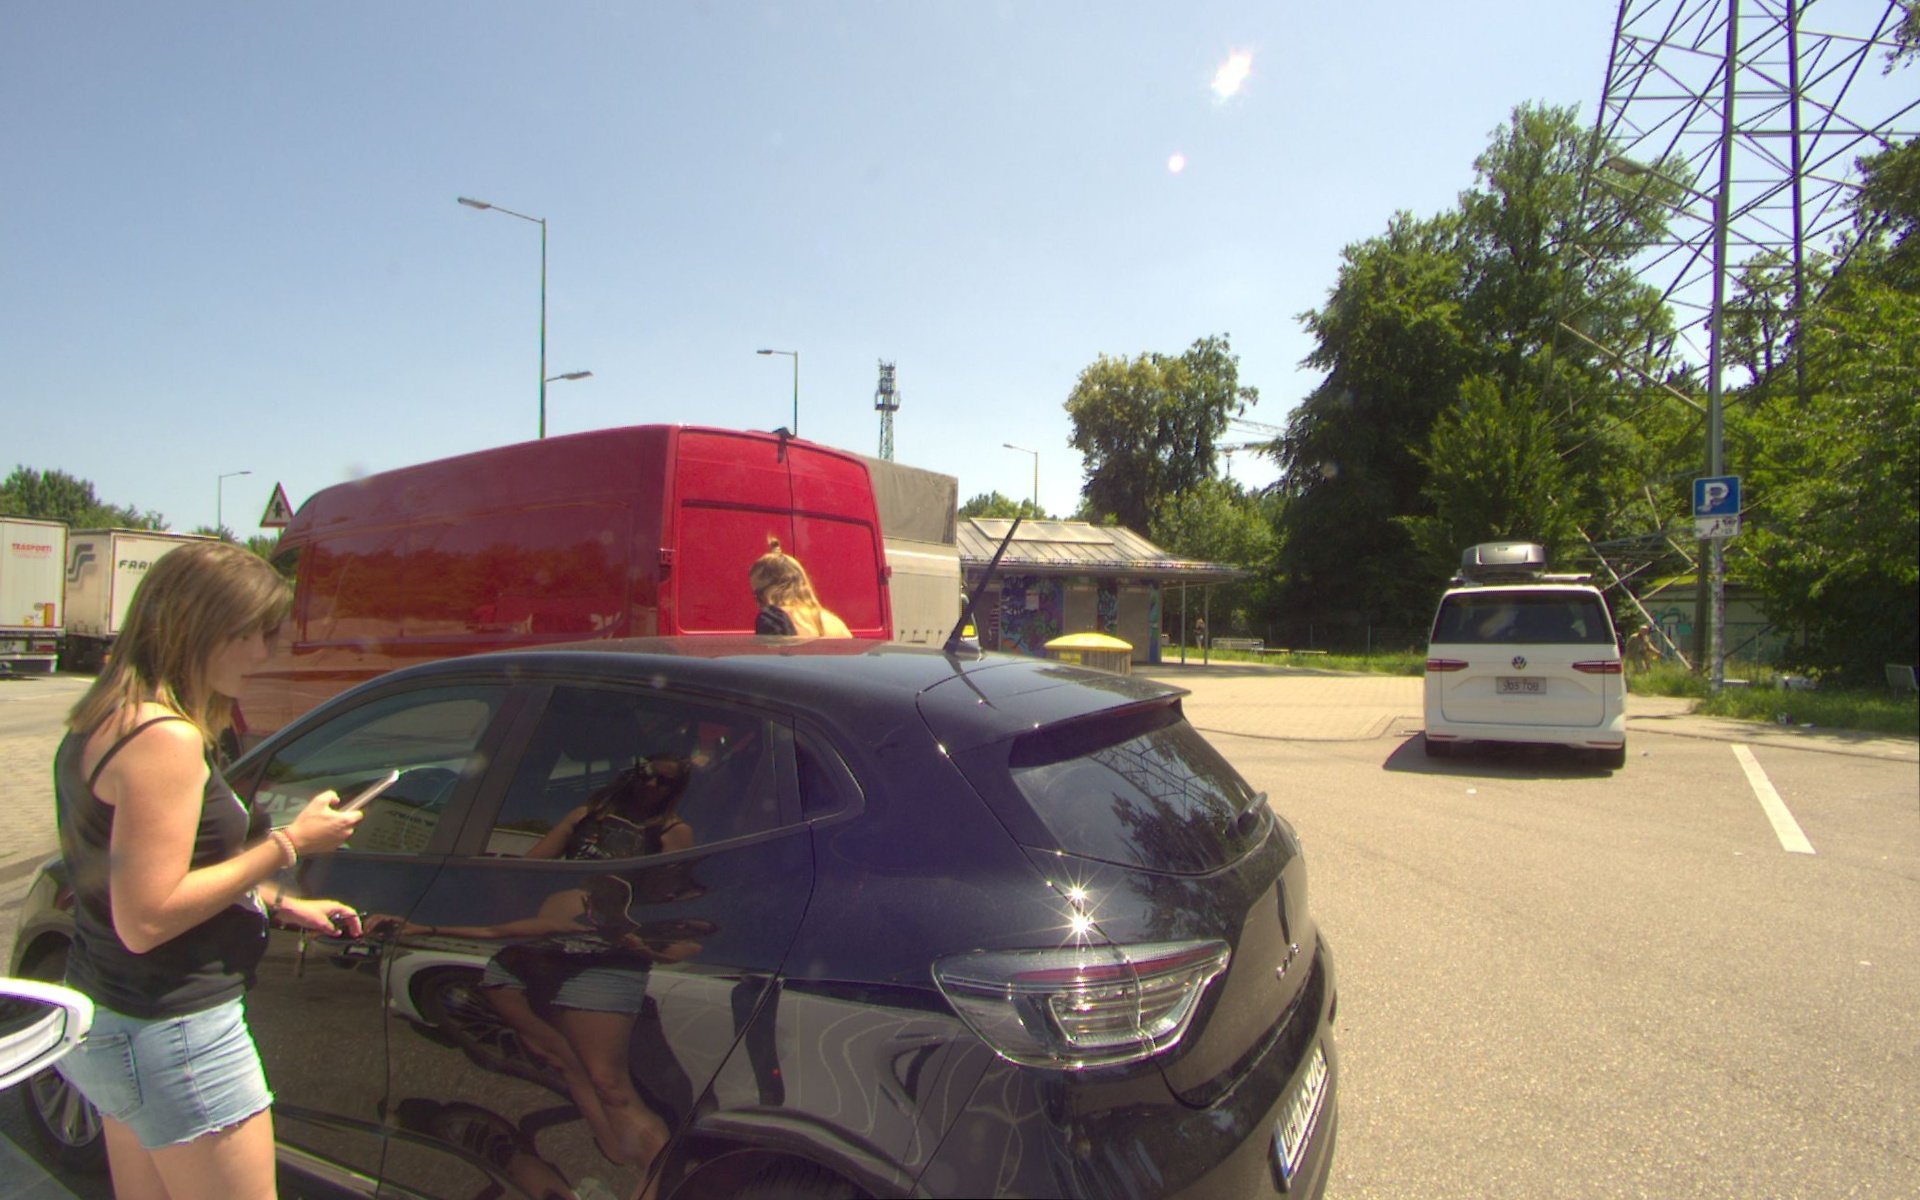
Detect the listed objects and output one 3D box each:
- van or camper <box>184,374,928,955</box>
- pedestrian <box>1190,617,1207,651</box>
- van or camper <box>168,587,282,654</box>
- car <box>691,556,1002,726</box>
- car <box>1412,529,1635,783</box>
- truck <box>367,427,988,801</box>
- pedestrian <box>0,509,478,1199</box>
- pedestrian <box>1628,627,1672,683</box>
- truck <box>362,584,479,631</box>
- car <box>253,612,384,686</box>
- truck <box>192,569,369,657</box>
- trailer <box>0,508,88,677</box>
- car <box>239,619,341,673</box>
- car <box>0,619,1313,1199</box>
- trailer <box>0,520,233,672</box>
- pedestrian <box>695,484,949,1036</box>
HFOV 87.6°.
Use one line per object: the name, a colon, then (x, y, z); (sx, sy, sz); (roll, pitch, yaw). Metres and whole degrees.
van or camper: (-3.367, 0.325, 7.343); (6.394, 2.688, 1.990); (0, -1, 36)
pedestrian: (10.968, 1.561, 46.106); (0.577, 1.536, 0.592); (1, 0, -9)
van or camper: (-30.415, 0.820, 41.374); (5.296, 2.595, 2.100); (0, -1, 34)
car: (-1.940, 0.556, 15.426); (1.981, 2.178, 5.261); (1, -1, -44)
car: (6.538, 0.571, 11.549); (1.892, 2.354, 4.074); (-1, -1, 32)
truck: (-3.262, 0.134, 10.549); (6.874, 2.828, 2.460); (0, -1, 35)
pedestrian: (-1.342, 0.681, 1.758); (0.641, 1.606, 0.649); (1, 0, 1)
pedestrian: (17.652, 1.401, 25.626); (0.695, 1.392, 0.607); (1, 0, 7)
truck: (-34.727, 0.468, 64.266); (9.637, 2.857, 2.121); (0, -1, 33)
car: (-15.271, 1.110, 23.750); (1.831, 1.582, 3.909); (2, -1, -45)
truck: (-31.696, 0.506, 46.464); (11.255, 3.615, 2.484); (2, -1, 33)
trailer: (-28.357, -0.330, 27.788); (12.255, 4.090, 2.862); (2, -1, 33)
car: (-21.076, 1.399, 31.454); (3.593, 1.565, 1.585); (0, -1, 37)
car: (-1.061, 0.836, 2.835); (3.706, 1.503, 1.615); (0, -1, 27)
trailer: (-27.297, -0.200, 31.453); (12.255, 4.090, 2.862); (2, -1, 33)
pedestrian: (-0.491, 0.555, 3.943); (0.759, 1.896, 0.917); (1, 0, 6)
